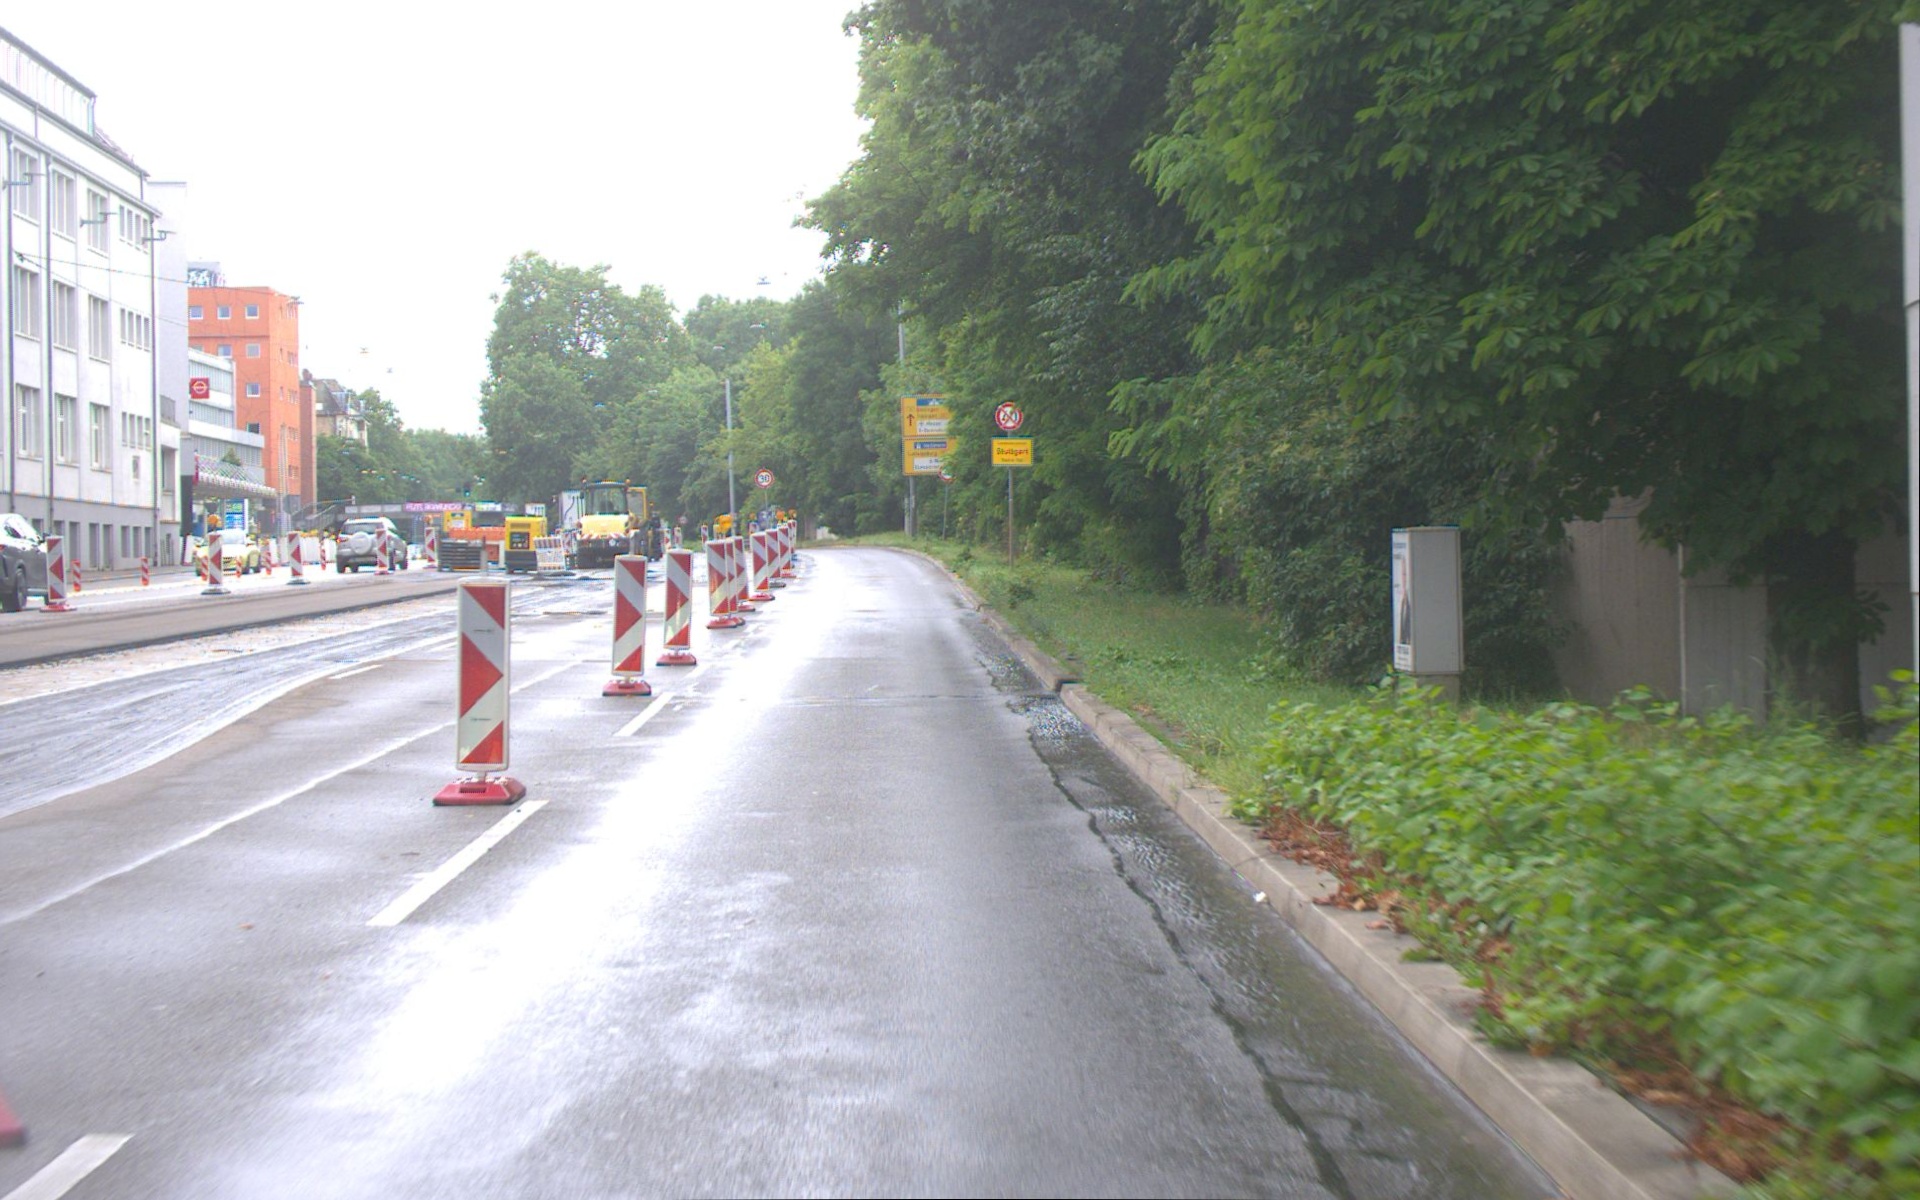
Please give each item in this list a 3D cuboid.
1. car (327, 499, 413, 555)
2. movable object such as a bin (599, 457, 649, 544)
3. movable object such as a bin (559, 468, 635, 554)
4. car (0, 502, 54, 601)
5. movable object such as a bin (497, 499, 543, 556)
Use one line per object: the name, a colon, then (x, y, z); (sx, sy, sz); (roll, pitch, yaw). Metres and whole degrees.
car: (-17.990, -2.224, 105.000); (1.892, 1.644, 4.396); (0, 1, -1)
movable object such as a bin: (-11.995, -3.565, 122.851); (1.465, 2.998, 3.725); (-3, 2, -3)
movable object such as a bin: (-11.362, -2.801, 107.893); (1.902, 2.600, 5.384); (-1, 2, -2)
car: (-16.908, -0.821, 58.430); (1.892, 1.644, 4.396); (0, 1, -1)
movable object such as a bin: (-12.710, -2.099, 99.437); (1.083, 1.639, 2.439); (-1, 1, -2)
